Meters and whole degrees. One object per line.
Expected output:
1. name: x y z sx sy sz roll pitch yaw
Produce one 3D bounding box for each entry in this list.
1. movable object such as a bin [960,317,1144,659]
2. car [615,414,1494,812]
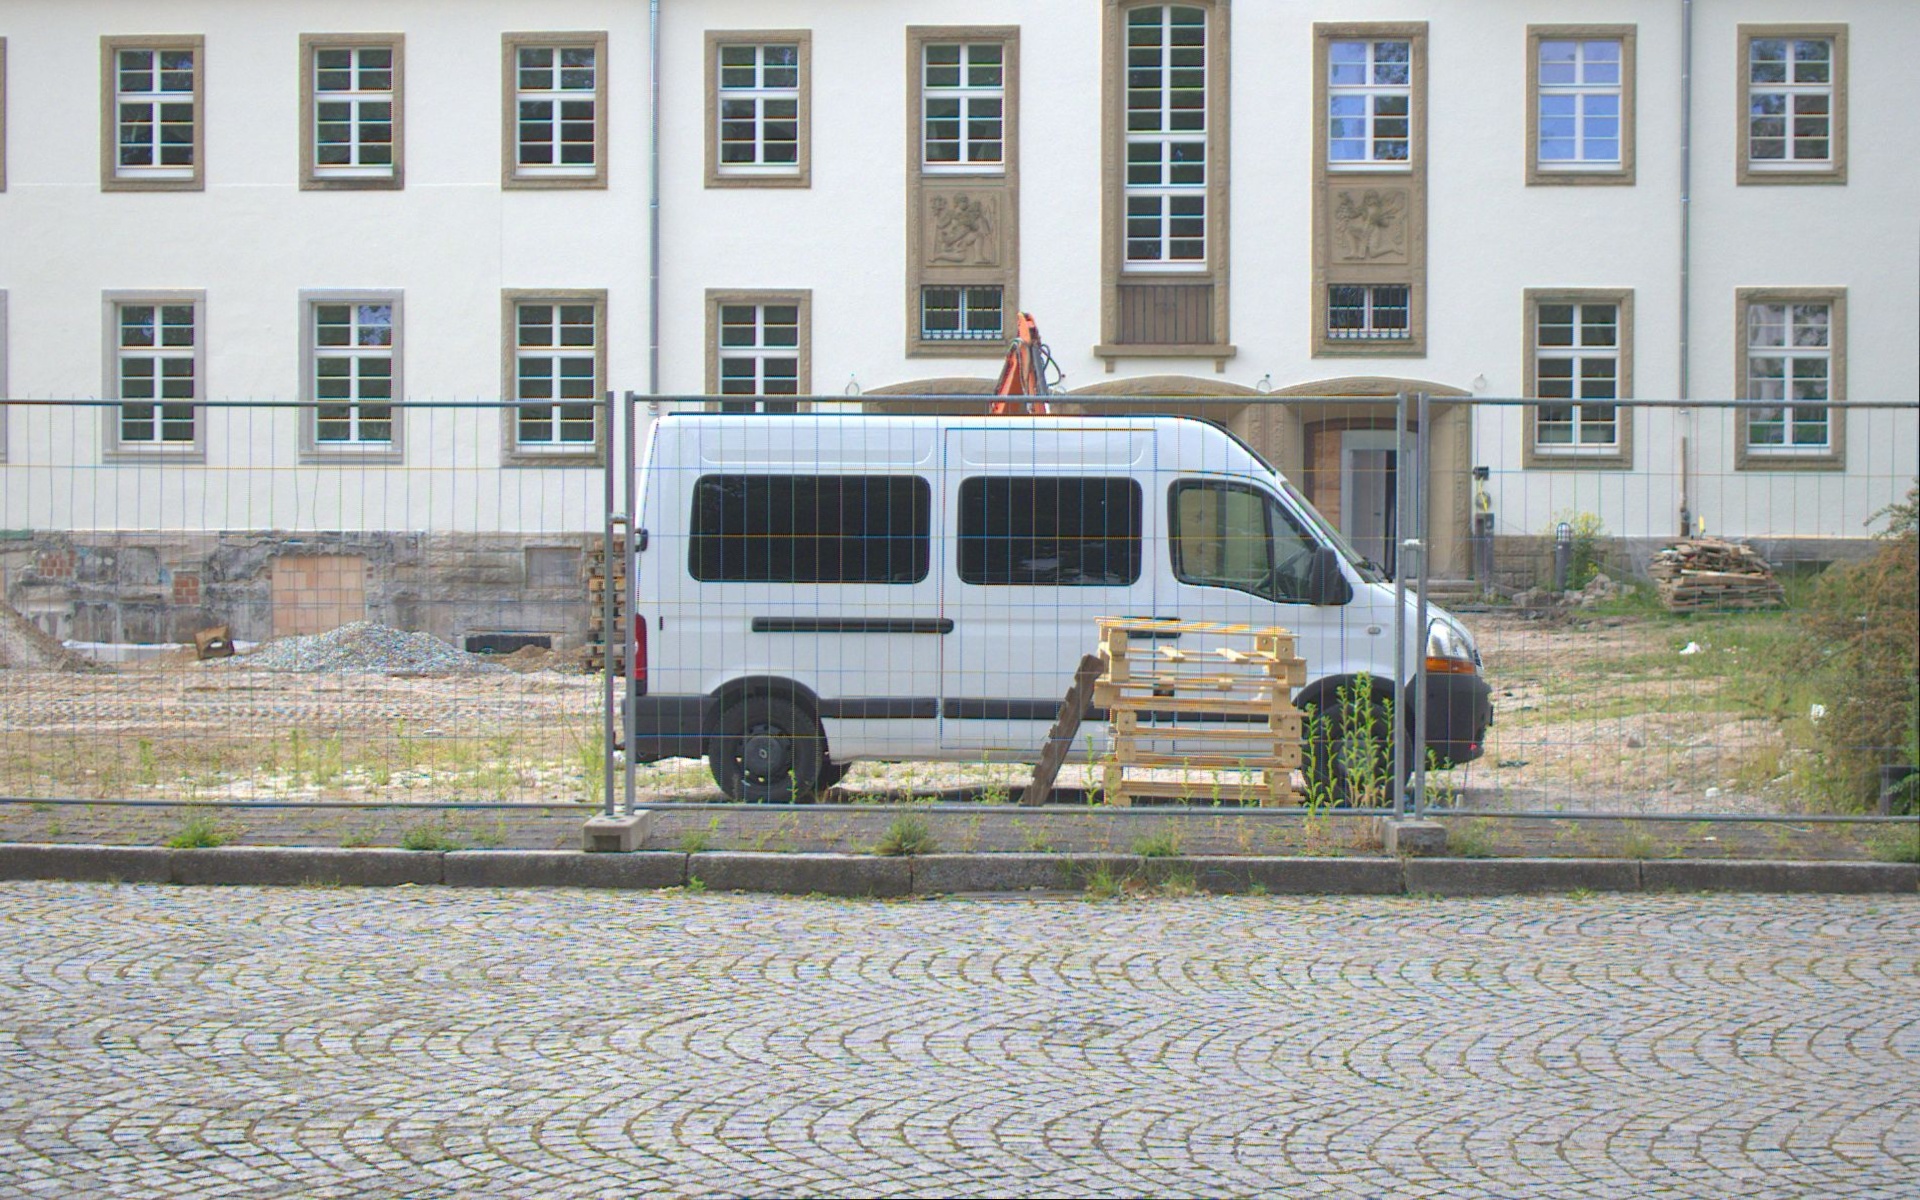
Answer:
1. movable object such as a bin: 1.022 -1.293 40.636 1.993 3.758 5.318 1 1 0
2. car: 0.621 0.042 21.559 5.264 2.336 1.910 1 1 5
